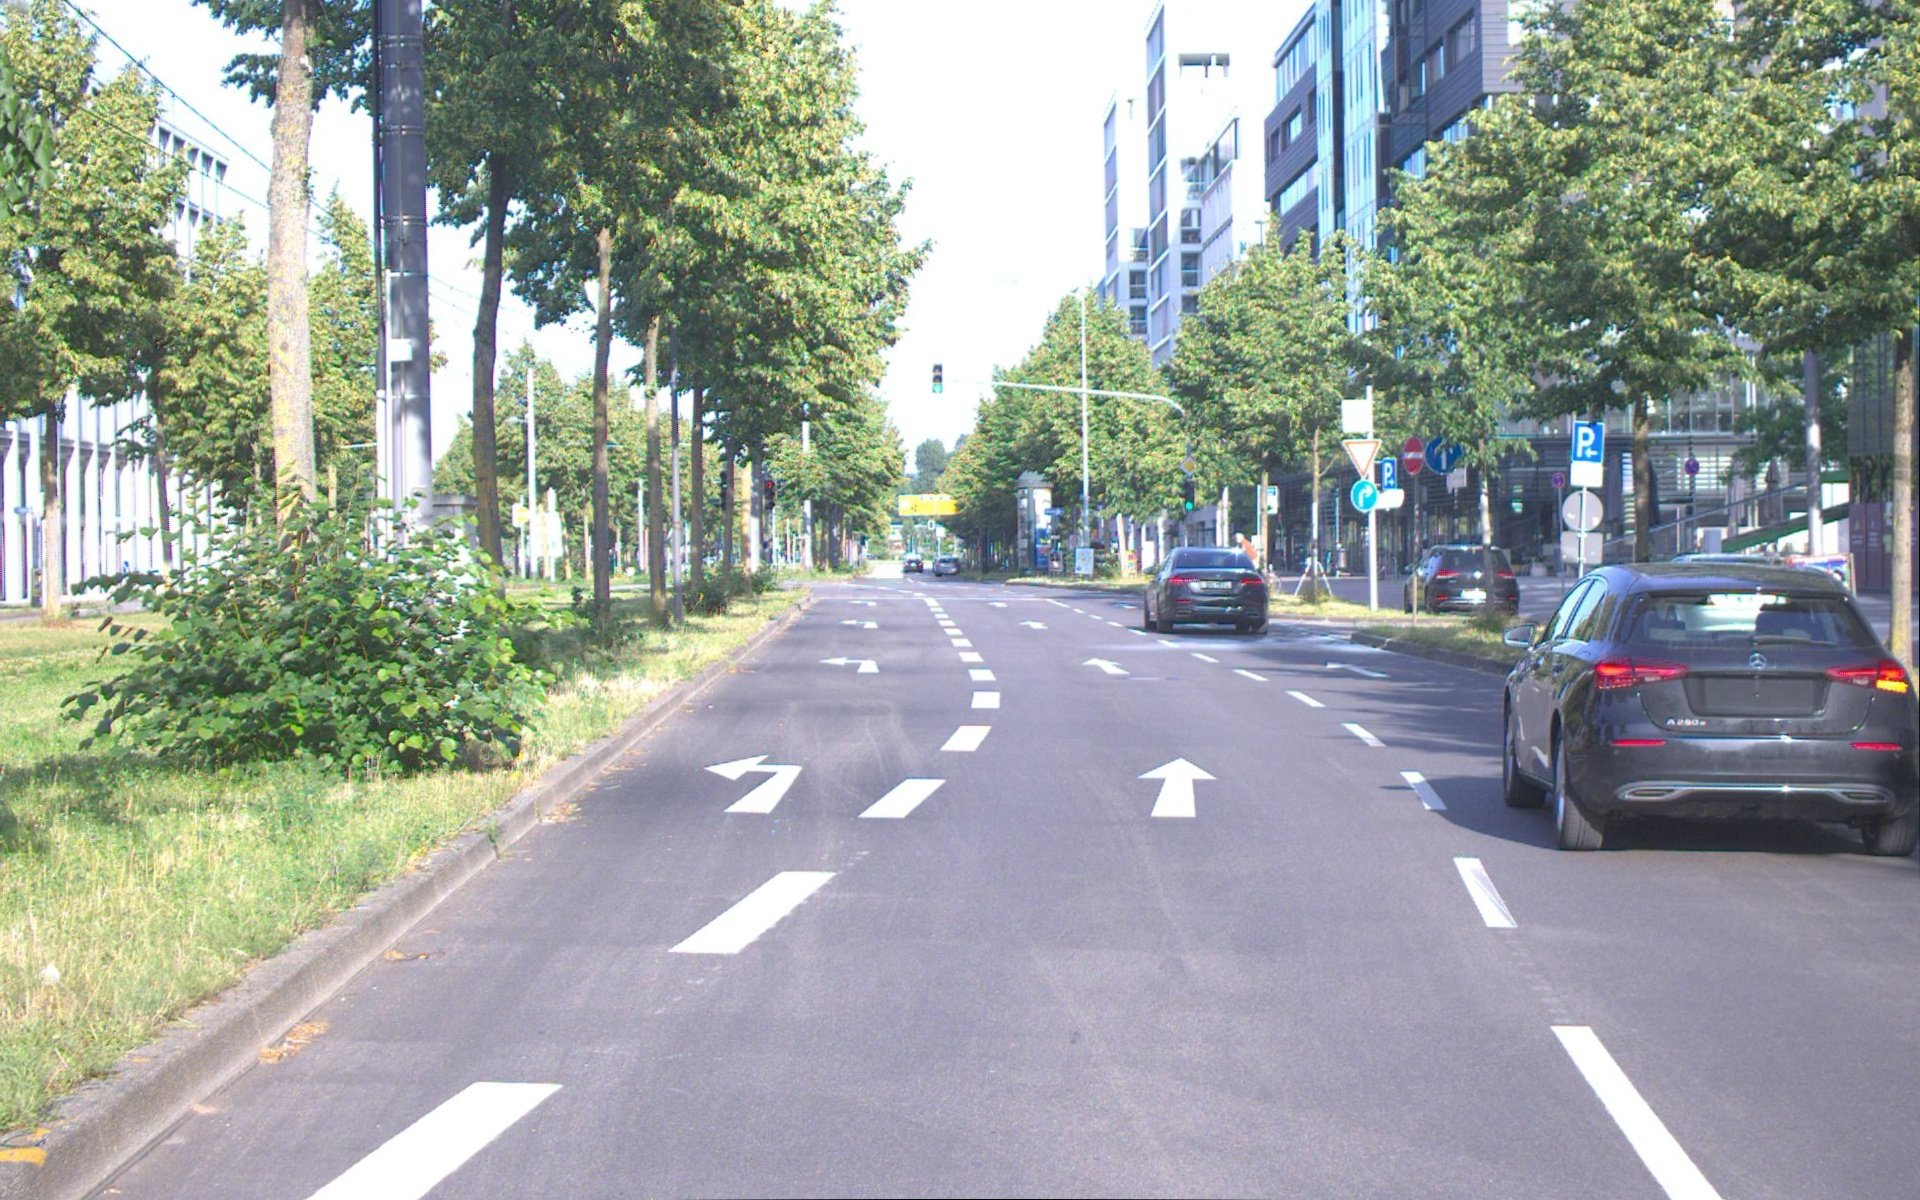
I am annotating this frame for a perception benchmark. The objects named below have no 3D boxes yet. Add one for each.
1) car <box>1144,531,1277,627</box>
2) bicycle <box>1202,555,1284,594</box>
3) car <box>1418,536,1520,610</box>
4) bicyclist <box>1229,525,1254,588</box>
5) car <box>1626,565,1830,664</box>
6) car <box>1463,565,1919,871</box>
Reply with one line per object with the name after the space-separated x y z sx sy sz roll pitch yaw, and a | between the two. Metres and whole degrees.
4.128 -0.350 57.210 1.859 1.519 3.786 1 0 -1 | car
7.712 -0.690 93.748 2.134 1.009 0.571 1 0 -5 | bicycle
9.925 -0.521 67.245 1.607 1.366 4.157 1 0 4 | car
7.681 -1.177 93.728 0.574 1.701 0.541 1 0 -5 | bicyclist
10.223 0.177 45.993 1.708 1.238 3.906 1 0 -2 | car
3.886 0.547 18.256 1.774 1.419 3.961 1 0 -1 | car
